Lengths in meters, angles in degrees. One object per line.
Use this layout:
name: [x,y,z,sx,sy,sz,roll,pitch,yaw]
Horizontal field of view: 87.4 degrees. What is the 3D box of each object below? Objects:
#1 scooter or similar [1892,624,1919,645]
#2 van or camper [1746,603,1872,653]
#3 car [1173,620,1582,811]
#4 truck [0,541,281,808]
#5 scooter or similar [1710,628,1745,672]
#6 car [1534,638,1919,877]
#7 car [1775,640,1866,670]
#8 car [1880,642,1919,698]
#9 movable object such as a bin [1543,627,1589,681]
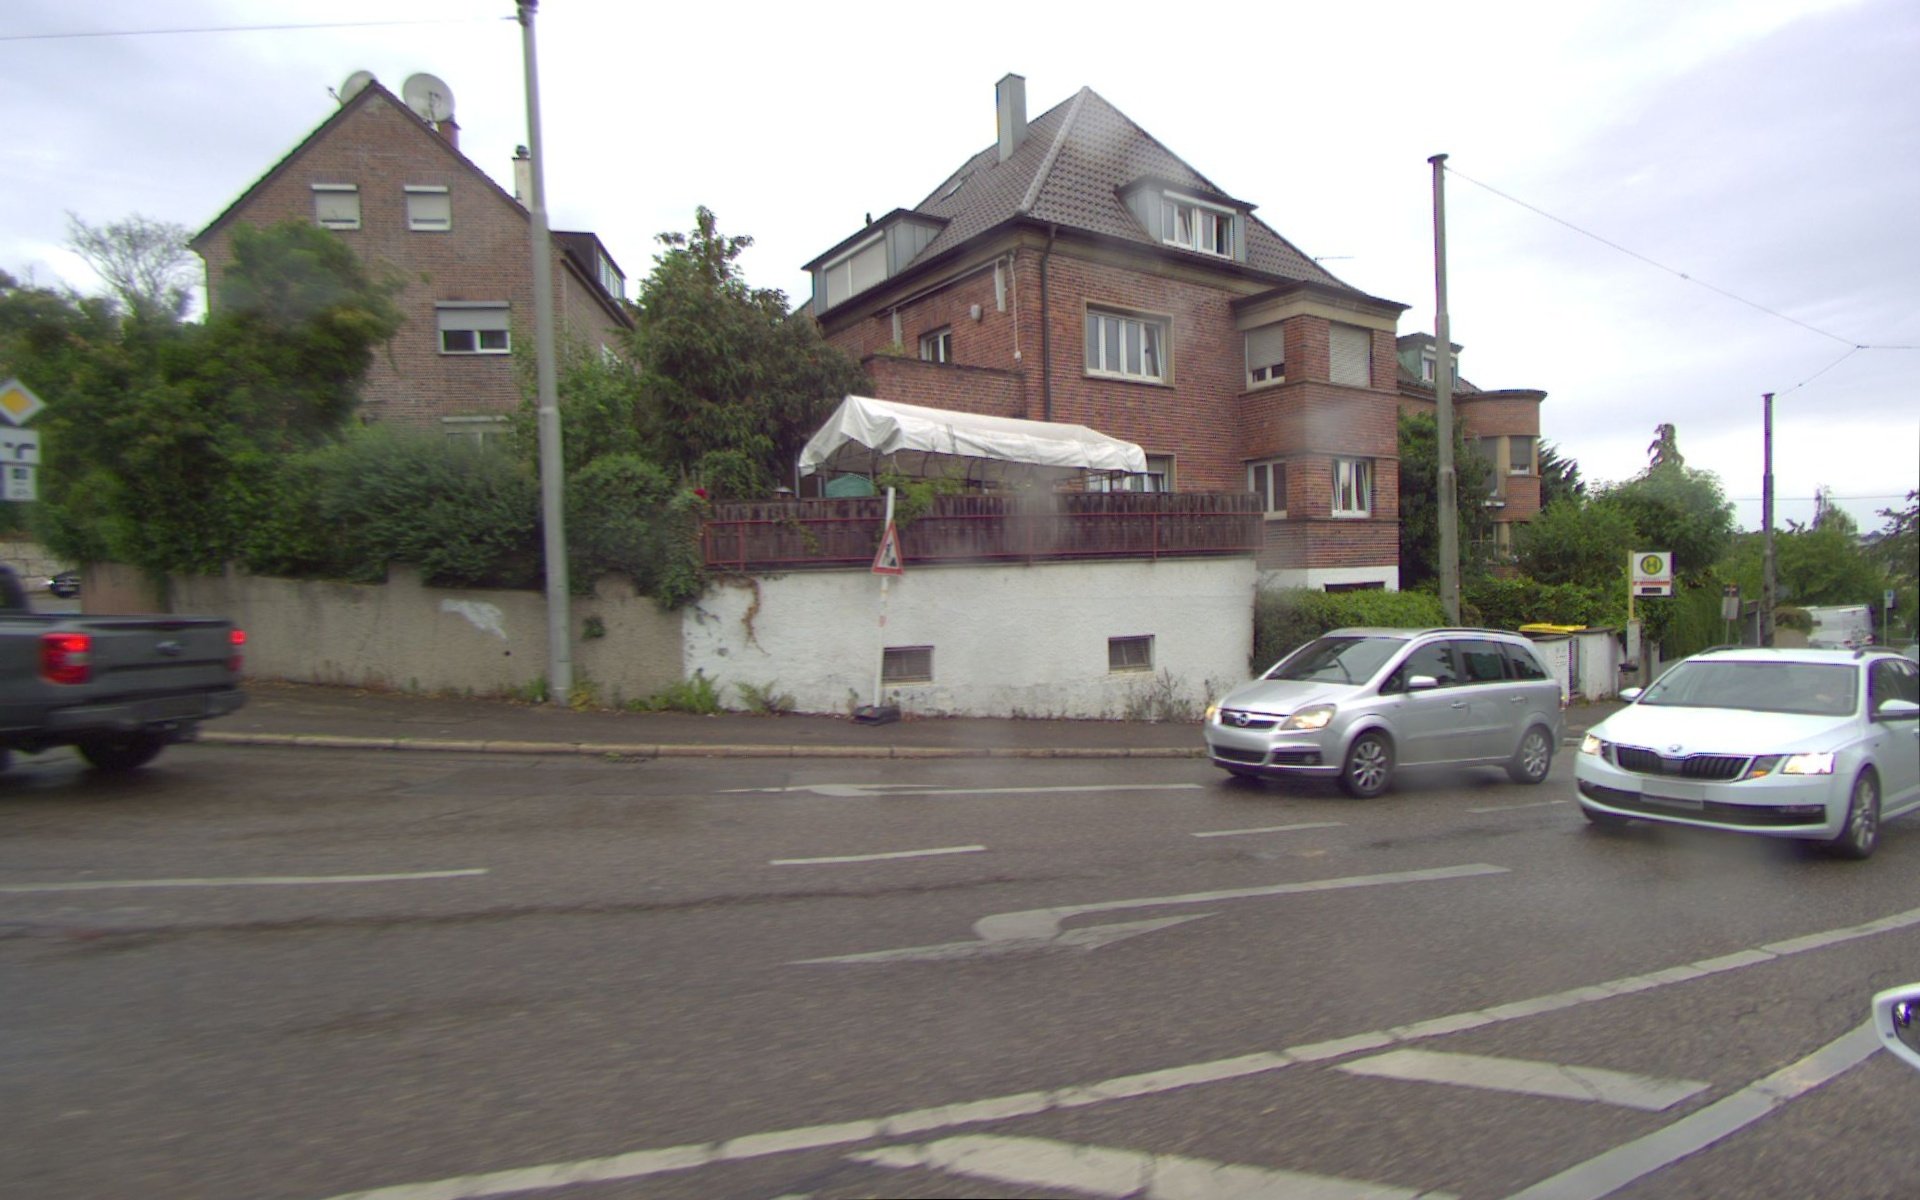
scooter or similar: [60.525,2.204,63.942,0.443,1.299,1.707,-3,-3,-10]
van or camper: [57.353,1.943,68.096,2.355,2.982,6.271,-5,-1,-11]
car: [4.464,1.082,10.526,4.410,1.606,1.702,2,-1,-32]
truck: [-8.732,0.494,8.107,5.175,1.872,1.889,2,-2,1]
scooter or similar: [22.095,1.434,28.916,1.424,1.219,0.518,1,-3,-42]
car: [6.795,1.087,8.364,4.398,1.493,1.835,2,-4,-36]
car: [48.018,3.037,56.167,1.738,1.540,3.977,-1,-2,2]
car: [27.189,1.905,28.042,4.580,1.469,1.722,2,-3,-41]
movable object such as a bin: [13.266,1.167,21.987,0.754,1.096,0.619,-1,3,-40]
